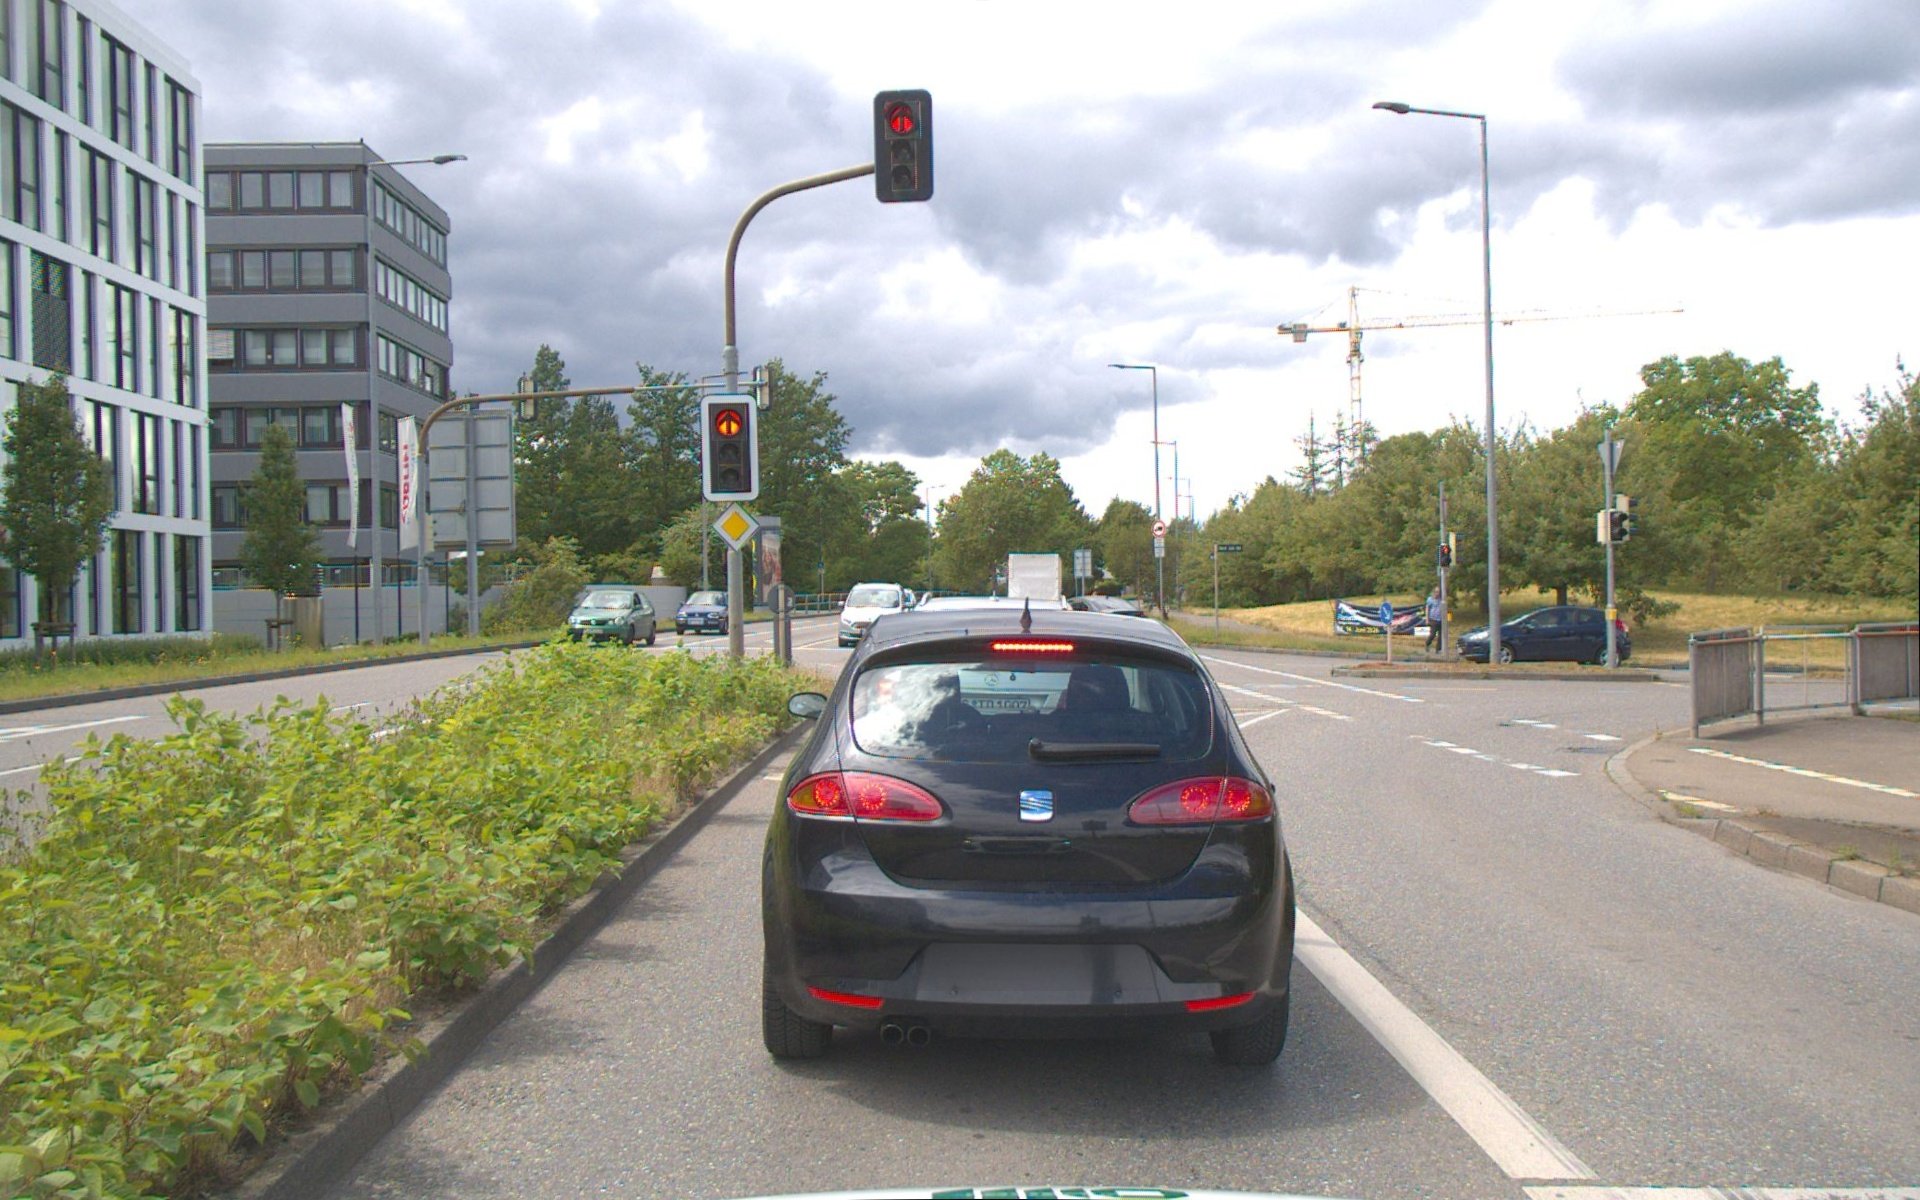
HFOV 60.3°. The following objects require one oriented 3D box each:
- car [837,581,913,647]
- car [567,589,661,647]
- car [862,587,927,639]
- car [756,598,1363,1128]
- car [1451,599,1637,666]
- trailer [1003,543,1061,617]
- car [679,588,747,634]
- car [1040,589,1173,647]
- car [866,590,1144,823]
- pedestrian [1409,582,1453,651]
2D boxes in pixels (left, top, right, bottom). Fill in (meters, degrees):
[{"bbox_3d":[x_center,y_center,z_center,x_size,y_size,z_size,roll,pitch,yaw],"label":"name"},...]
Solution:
[{"bbox_3d":[-2.318,0.347,46.154,1.783,1.716,4.646,1,1,1],"label":"car"},{"bbox_3d":[-8.994,0.439,43.263,1.572,1.457,3.753,0,0,1],"label":"car"},{"bbox_3d":[-2.026,0.381,52.234,1.625,1.545,4.086,1,1,3],"label":"car"},{"bbox_3d":[0.262,0.734,6.336,1.676,1.442,3.459,1,0,-1],"label":"car"},{"bbox_3d":[13.709,0.759,39.006,3.797,1.471,1.761,1,0,5],"label":"car"},{"bbox_3d":[3.240,-0.850,73.674,2.439,3.127,5.589,1,0,3],"label":"trailer"},{"bbox_3d":[-8.260,0.345,55.536,1.521,1.444,3.897,1,1,3],"label":"car"},{"bbox_3d":[4.169,0.475,47.795,1.967,1.593,4.438,0,0,-23],"label":"car"},{"bbox_3d":[0.312,0.704,12.693,1.797,1.493,3.751,1,0,0],"label":"car"},{"bbox_3d":[12.701,0.438,44.592,0.706,1.824,1.040,1,0,-13],"label":"pedestrian"}]
